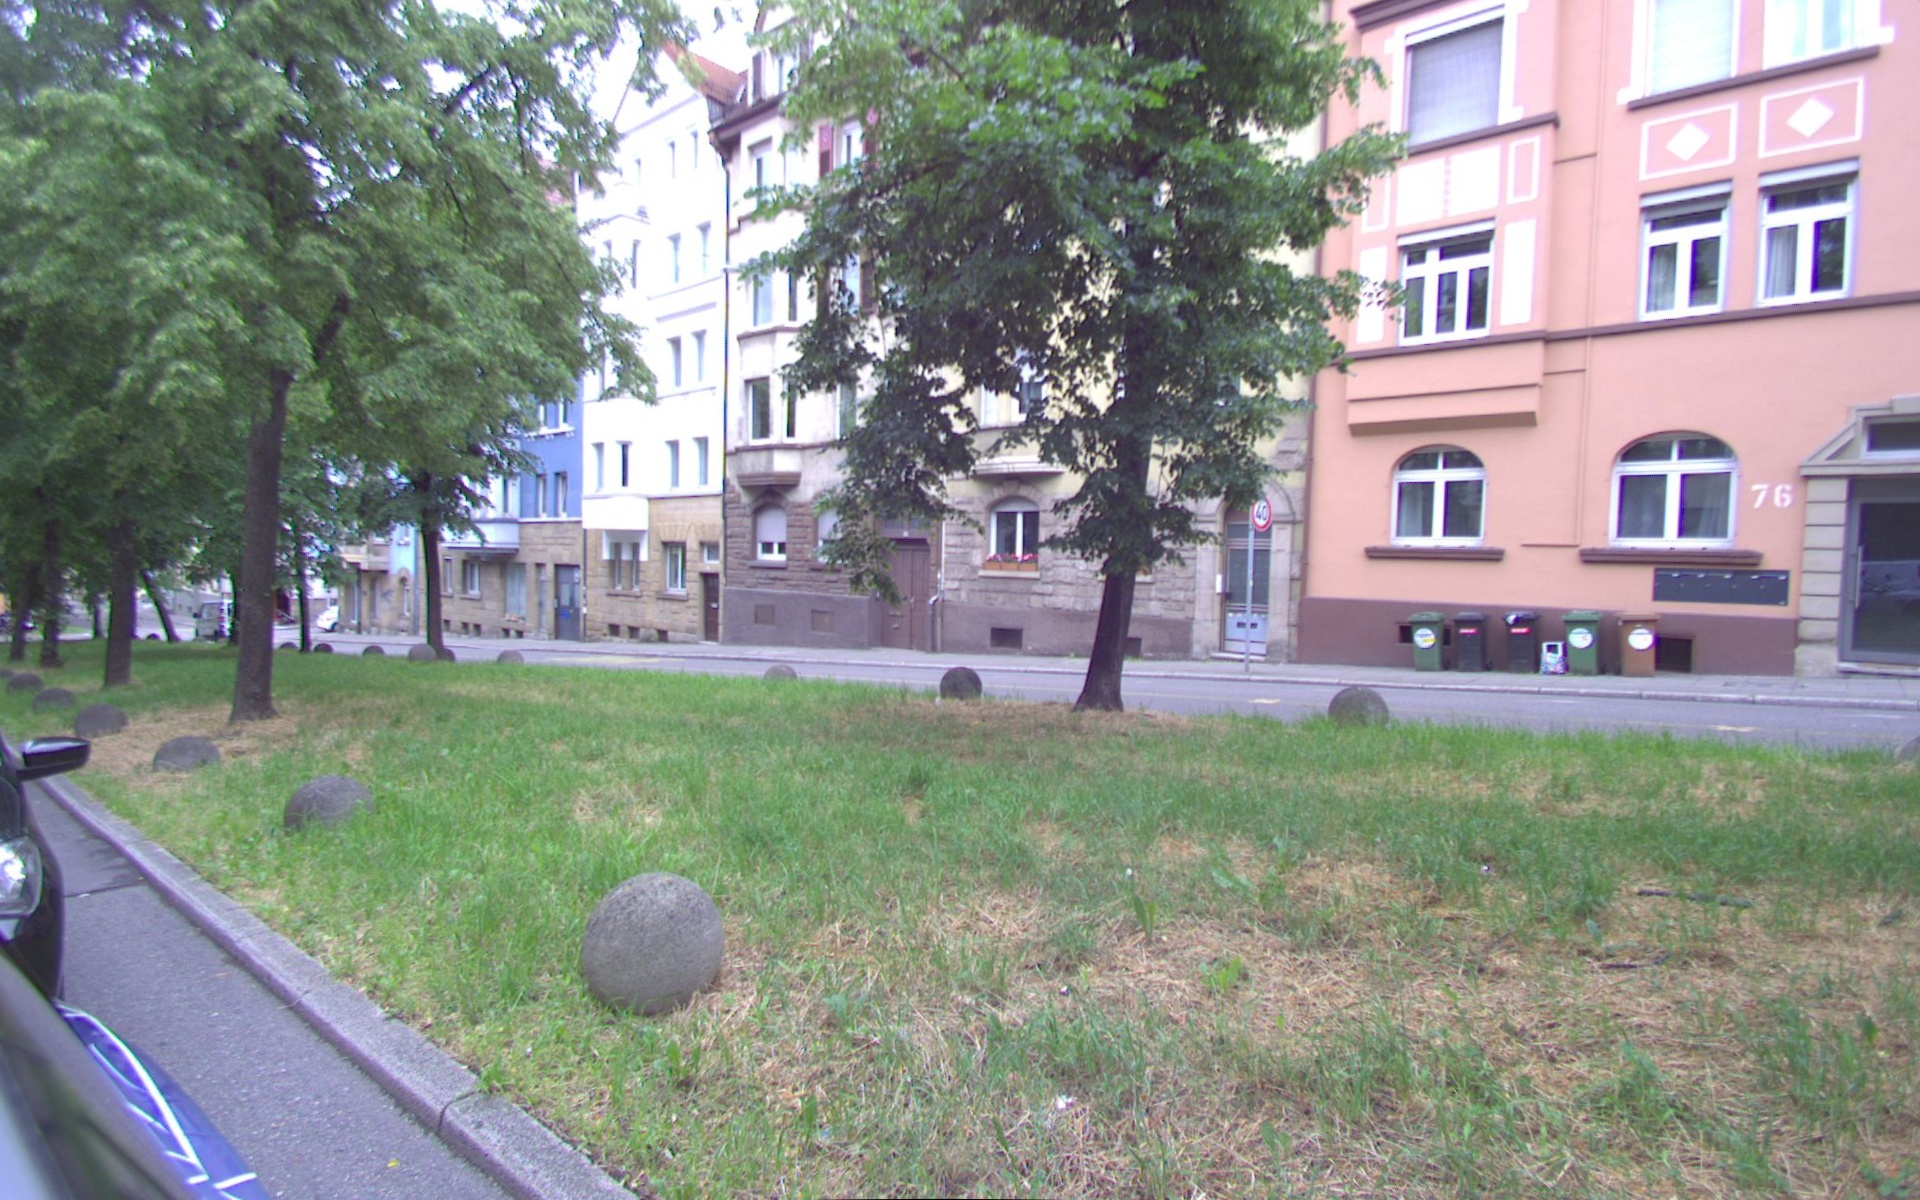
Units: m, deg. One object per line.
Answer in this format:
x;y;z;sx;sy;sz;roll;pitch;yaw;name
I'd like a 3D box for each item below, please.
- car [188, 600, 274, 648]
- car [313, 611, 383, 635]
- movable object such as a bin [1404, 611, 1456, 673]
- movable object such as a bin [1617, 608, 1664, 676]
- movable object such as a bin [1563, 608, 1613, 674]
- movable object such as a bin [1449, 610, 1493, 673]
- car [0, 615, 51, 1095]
-31.805;1.040;44.094;5.306;1.959;1.972;-2;0;42;car
-35.357;1.305;58.505;3.244;1.341;1.674;-1;0;-40;car
7.520;0.660;16.190;0.617;0.955;0.610;-1;0;40;movable object such as a bin
9.644;0.580;14.342;0.514;0.928;0.750;-1;0;36;movable object such as a bin
9.161;0.587;14.753;0.558;0.928;0.648;-1;0;36;movable object such as a bin
7.993;0.631;15.818;0.531;0.953;0.575;-1;0;35;movable object such as a bin
-4.651;0.784;3.684;3.295;1.476;1.590;-1;-2;41;car
